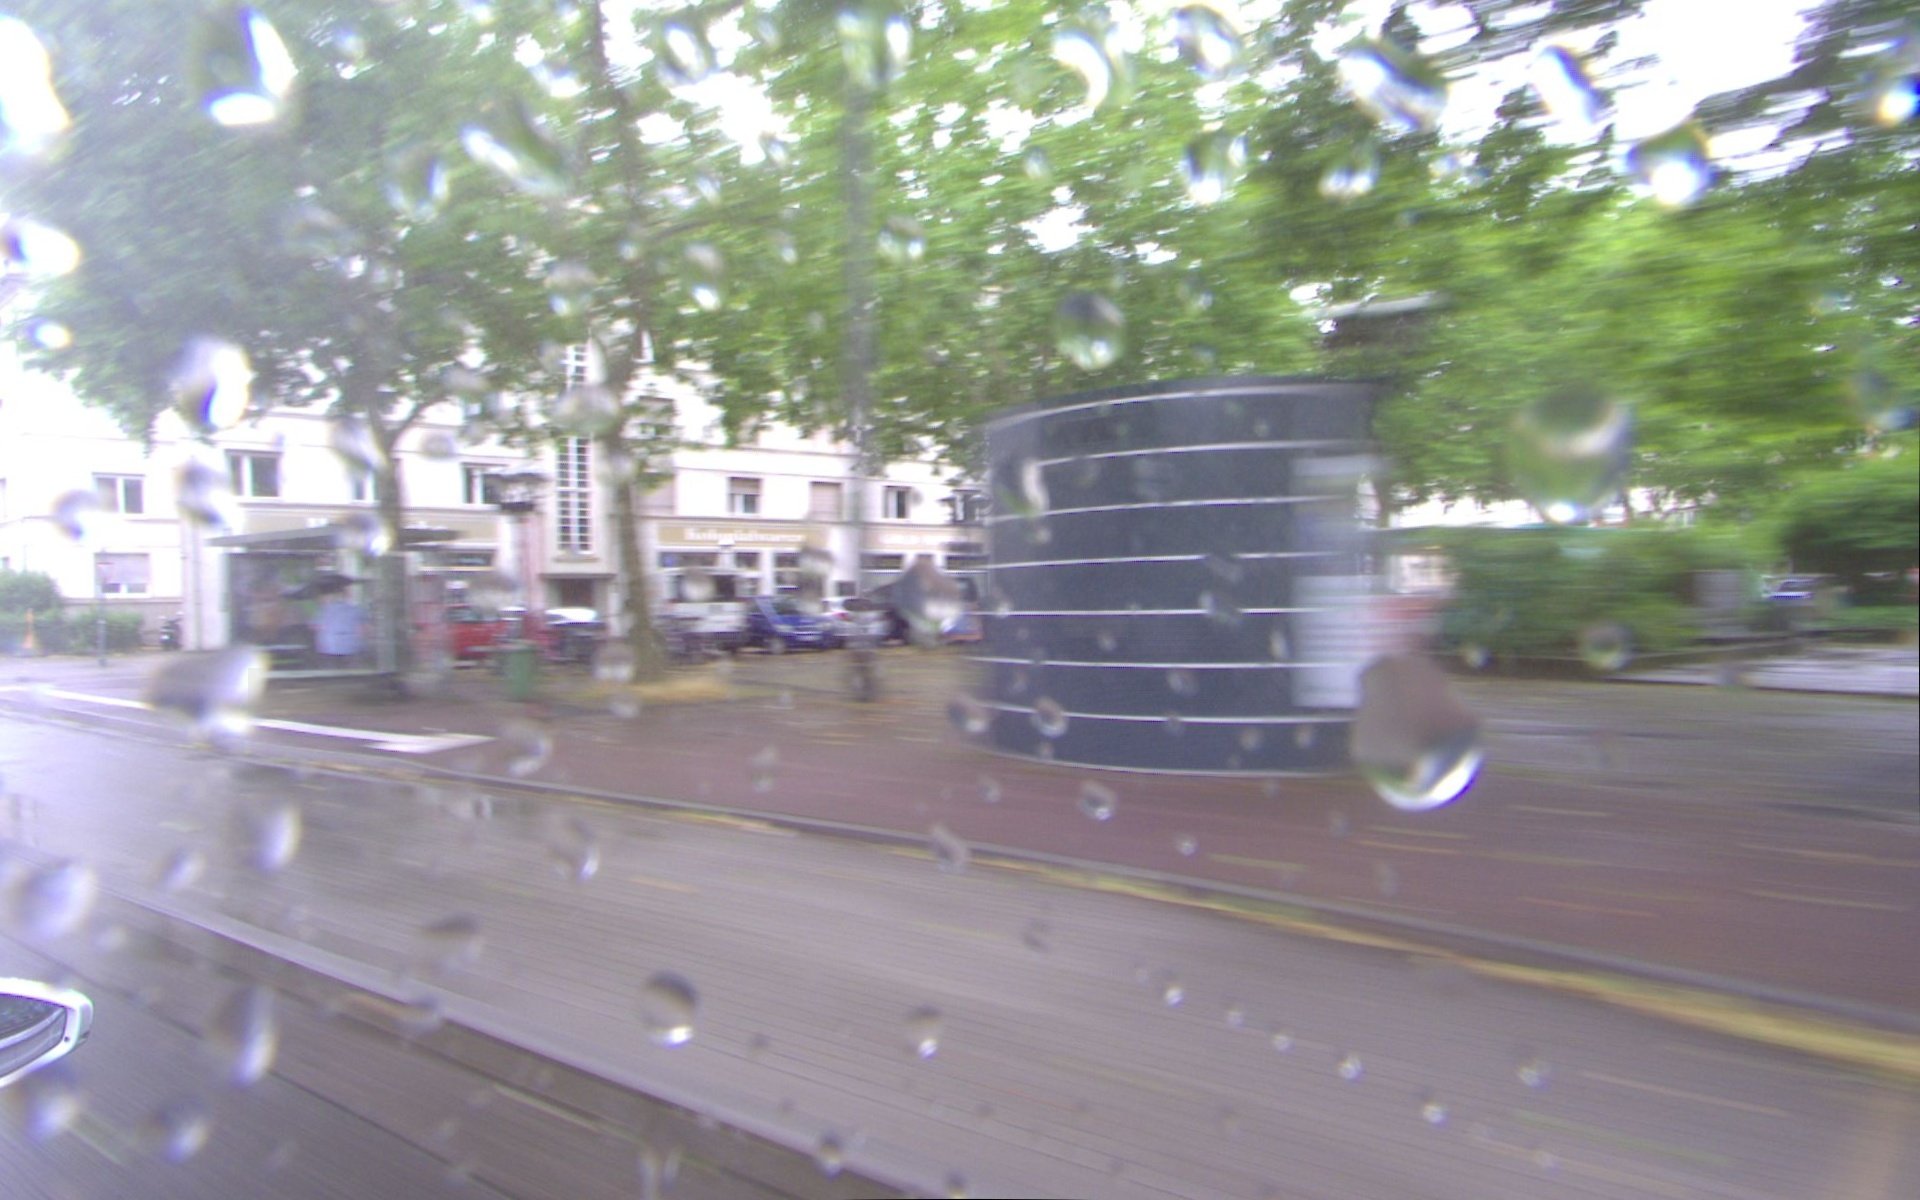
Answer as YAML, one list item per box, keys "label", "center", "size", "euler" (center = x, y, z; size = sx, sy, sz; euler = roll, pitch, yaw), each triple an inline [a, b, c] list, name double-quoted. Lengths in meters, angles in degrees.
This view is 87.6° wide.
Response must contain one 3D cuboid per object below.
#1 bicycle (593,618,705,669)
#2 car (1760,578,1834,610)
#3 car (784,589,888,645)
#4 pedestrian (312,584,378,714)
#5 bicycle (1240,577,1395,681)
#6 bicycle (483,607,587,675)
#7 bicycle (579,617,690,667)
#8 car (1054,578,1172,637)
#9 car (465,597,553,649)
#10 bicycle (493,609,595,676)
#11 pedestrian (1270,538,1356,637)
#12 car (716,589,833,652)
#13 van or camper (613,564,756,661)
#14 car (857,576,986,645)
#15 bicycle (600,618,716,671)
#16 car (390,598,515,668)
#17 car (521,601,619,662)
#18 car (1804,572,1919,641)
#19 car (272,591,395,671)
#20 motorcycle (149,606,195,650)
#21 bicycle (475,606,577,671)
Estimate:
- label: "bicycle"
  center: [-6.642, 0.921, 21.468]
  size: [2.229, 0.981, 0.531]
  euler: [-1, 1, -34]
- label: "car"
  center: [41.315, -0.310, 49.412]
  size: [3.944, 1.471, 1.667]
  euler: [-2, 1, -32]
- label: "car"
  center: [-3.697, 0.533, 29.363]
  size: [1.661, 1.450, 3.718]
  euler: [-2, -2, -31]
- label: "pedestrian"
  center: [-8.344, 0.643, 13.591]
  size: [0.709, 1.691, 0.661]
  euler: [-2, 1, -33]
- label: "bicycle"
  center: [5.268, 0.378, 15.018]
  size: [0.738, 1.396, 2.701]
  euler: [-2, 1, -17]
- label: "bicycle"
  center: [-8.512, 0.788, 20.095]
  size: [1.817, 1.275, 0.521]
  euler: [-2, 1, -36]
- label: "bicycle"
  center: [-7.108, 0.904, 21.906]
  size: [2.224, 0.981, 0.581]
  euler: [-1, 1, -34]
- label: "car"
  center: [5.170, 0.290, 34.341]
  size: [1.814, 1.861, 3.979]
  euler: [-2, -1, -32]
- label: "car"
  center: [-15.360, 0.778, 33.971]
  size: [1.974, 1.649, 4.600]
  euler: [2, -2, -34]
- label: "bicycle"
  center: [-8.111, 0.807, 19.562]
  size: [1.744, 1.211, 0.495]
  euler: [-2, 1, -36]
- label: "pedestrian"
  center: [5.267, -0.185, 14.975]
  size: [0.733, 1.417, 1.045]
  euler: [-2, 2, -17]
- label: "car"
  center: [-5.114, 0.556, 27.316]
  size: [1.664, 1.596, 3.709]
  euler: [-1, 0, -36]
- label: "van or camper"
  center: [-7.362, 0.289, 26.311]
  size: [2.369, 2.261, 5.402]
  euler: [-2, 0, -29]
- label: "car"
  center: [-1.214, 0.351, 30.050]
  size: [2.132, 1.861, 3.979]
  euler: [-2, -1, -32]
- label: "bicycle"
  center: [-6.286, 0.914, 20.933]
  size: [2.258, 0.996, 0.542]
  euler: [-1, 1, -34]
- label: "car"
  center: [-11.772, 0.784, 23.174]
  size: [3.355, 1.475, 1.515]
  euler: [-4, -1, 44]
- label: "car"
  center: [-9.517, 0.781, 24.326]
  size: [1.566, 1.353, 3.244]
  euler: [-2, -1, -33]
- label: "car"
  center: [21.910, 0.130, 23.033]
  size: [1.650, 1.542, 3.645]
  euler: [-2, 1, -42]
- label: "car"
  center: [-13.654, 0.690, 21.748]
  size: [1.675, 1.571, 3.493]
  euler: [-2, -1, -41]
- label: "motorcycle"
  center: [-26.951, 0.935, 34.288]
  size: [0.866, 1.411, 2.987]
  euler: [-2, 1, -32]
- label: "bicycle"
  center: [-9.009, 0.774, 20.806]
  size: [1.817, 1.275, 0.705]
  euler: [-2, 1, -36]
